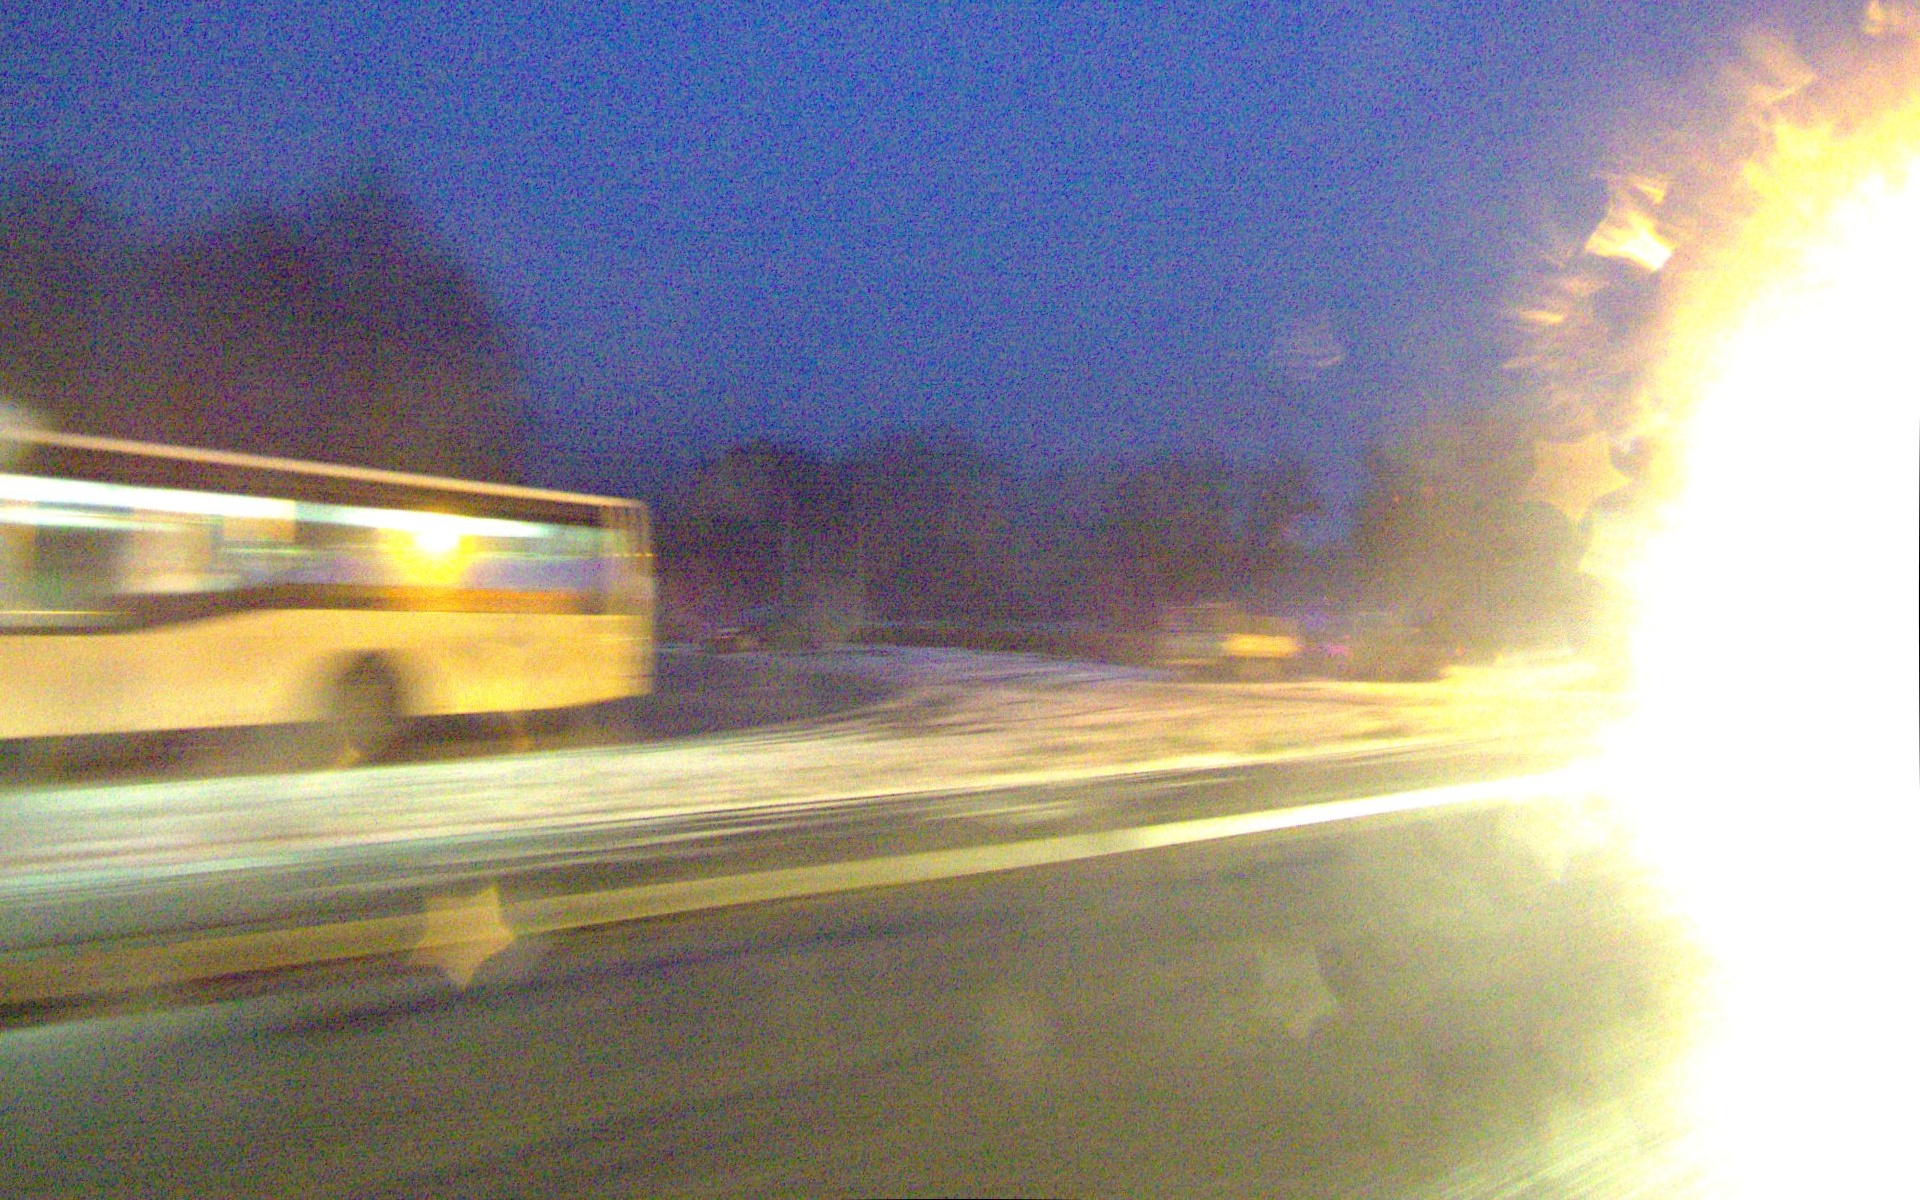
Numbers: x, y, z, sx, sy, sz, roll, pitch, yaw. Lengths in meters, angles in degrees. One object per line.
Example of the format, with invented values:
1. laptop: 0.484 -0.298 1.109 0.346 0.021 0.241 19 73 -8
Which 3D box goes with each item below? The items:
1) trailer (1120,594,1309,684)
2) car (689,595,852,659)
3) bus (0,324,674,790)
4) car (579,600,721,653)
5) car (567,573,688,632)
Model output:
1. trailer: 5.363 0.770 20.971 4.067 1.699 1.798 0 -1 -40
2. car: -5.729 0.856 30.811 1.916 1.719 4.600 4 1 44
3. bus: -9.159 -0.390 9.383 2.859 3.920 12.993 2 0 41
4. car: -11.341 1.011 36.942 1.916 1.719 4.600 4 1 44
5. car: -13.037 0.119 39.535 1.971 2.083 3.979 4 1 42
